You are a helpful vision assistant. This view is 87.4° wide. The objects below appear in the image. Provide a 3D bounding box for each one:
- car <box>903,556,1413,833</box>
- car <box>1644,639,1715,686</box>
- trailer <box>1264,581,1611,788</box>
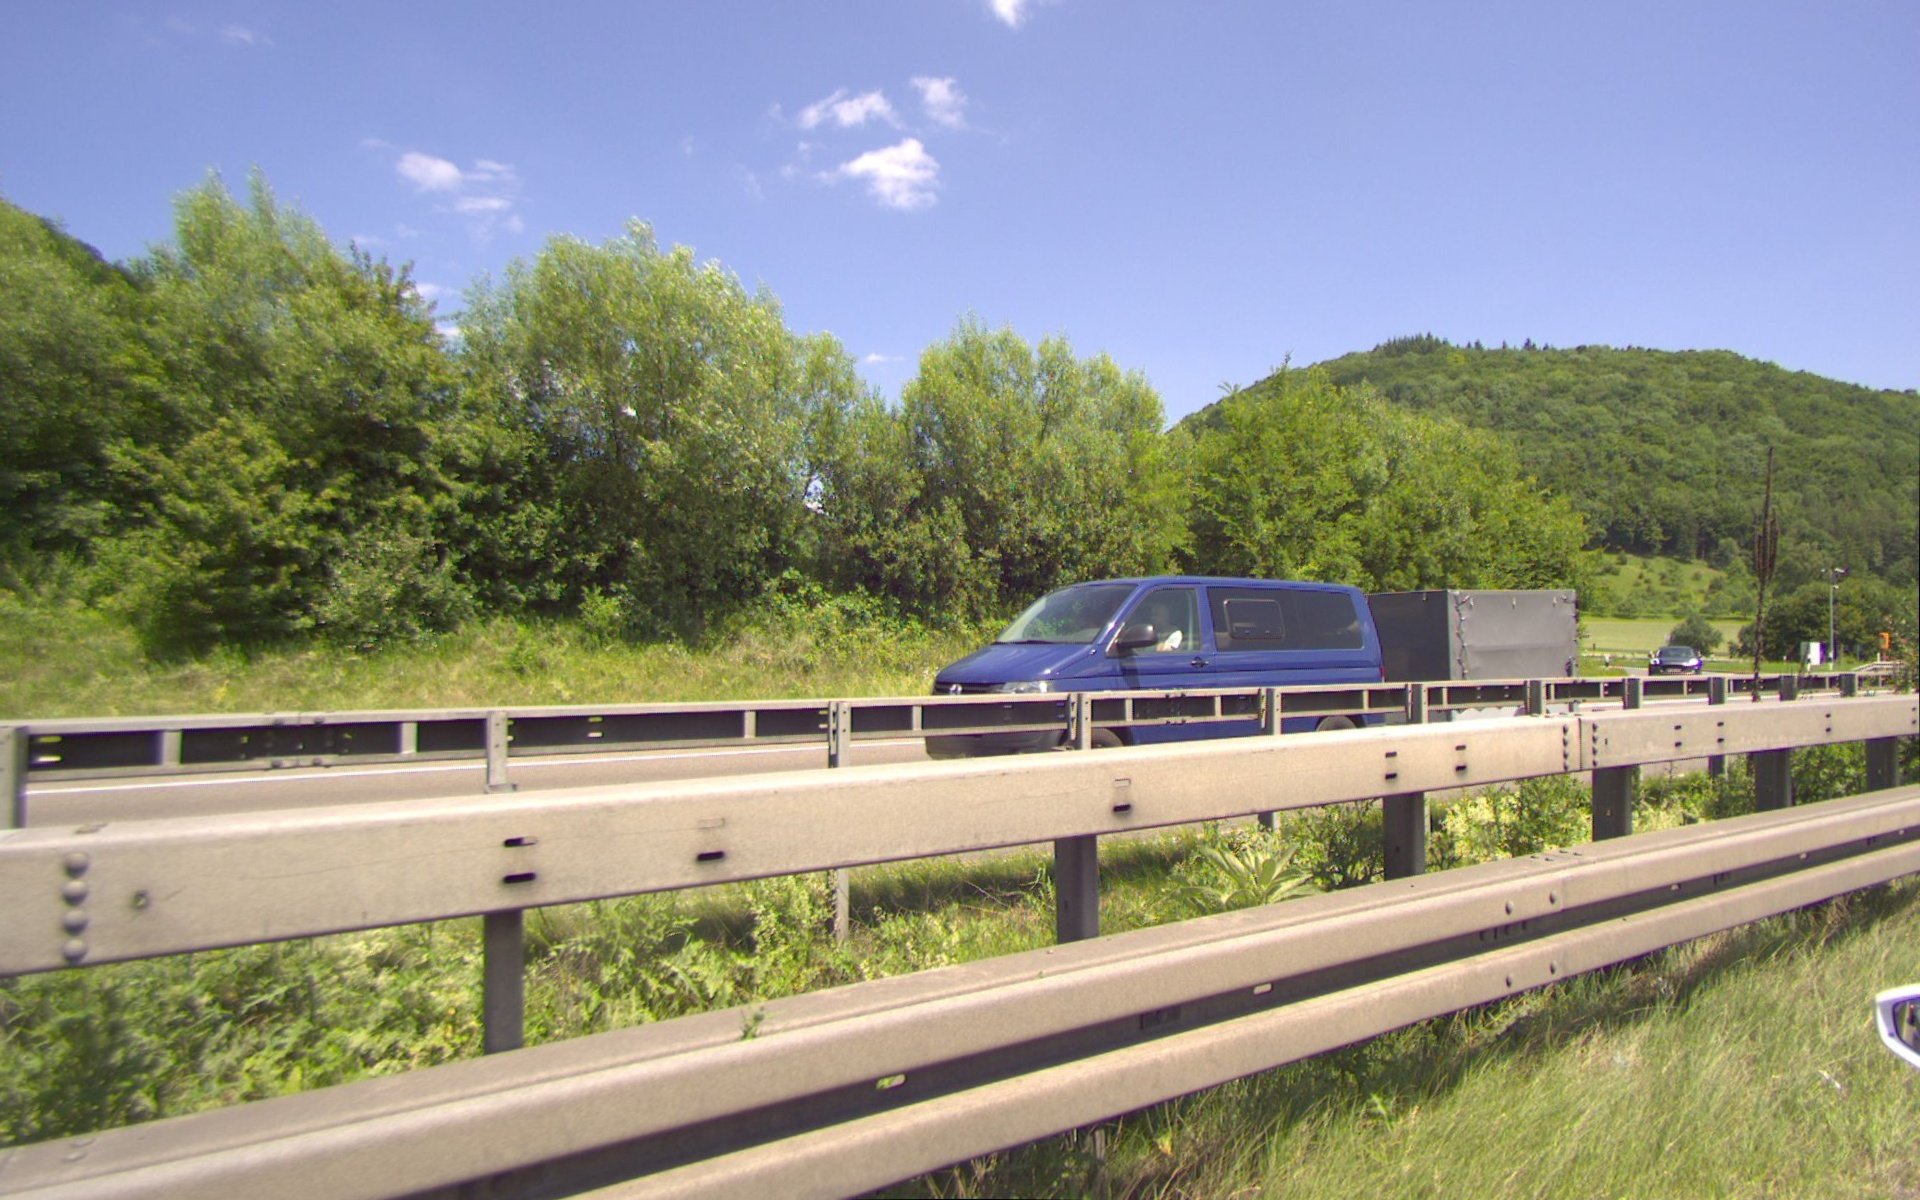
[{"bbox_3d":[2.025,0.785,9.733,4.784,2.098,1.983,2,-1,-32],"label":"car"},{"bbox_3d":[30.546,2.607,42.619,3.974,1.862,1.790,2,-1,-45],"label":"car"},{"bbox_3d":[5.742,0.914,12.033,3.785,2.098,2.015,2,-1,-31],"label":"trailer"}]
